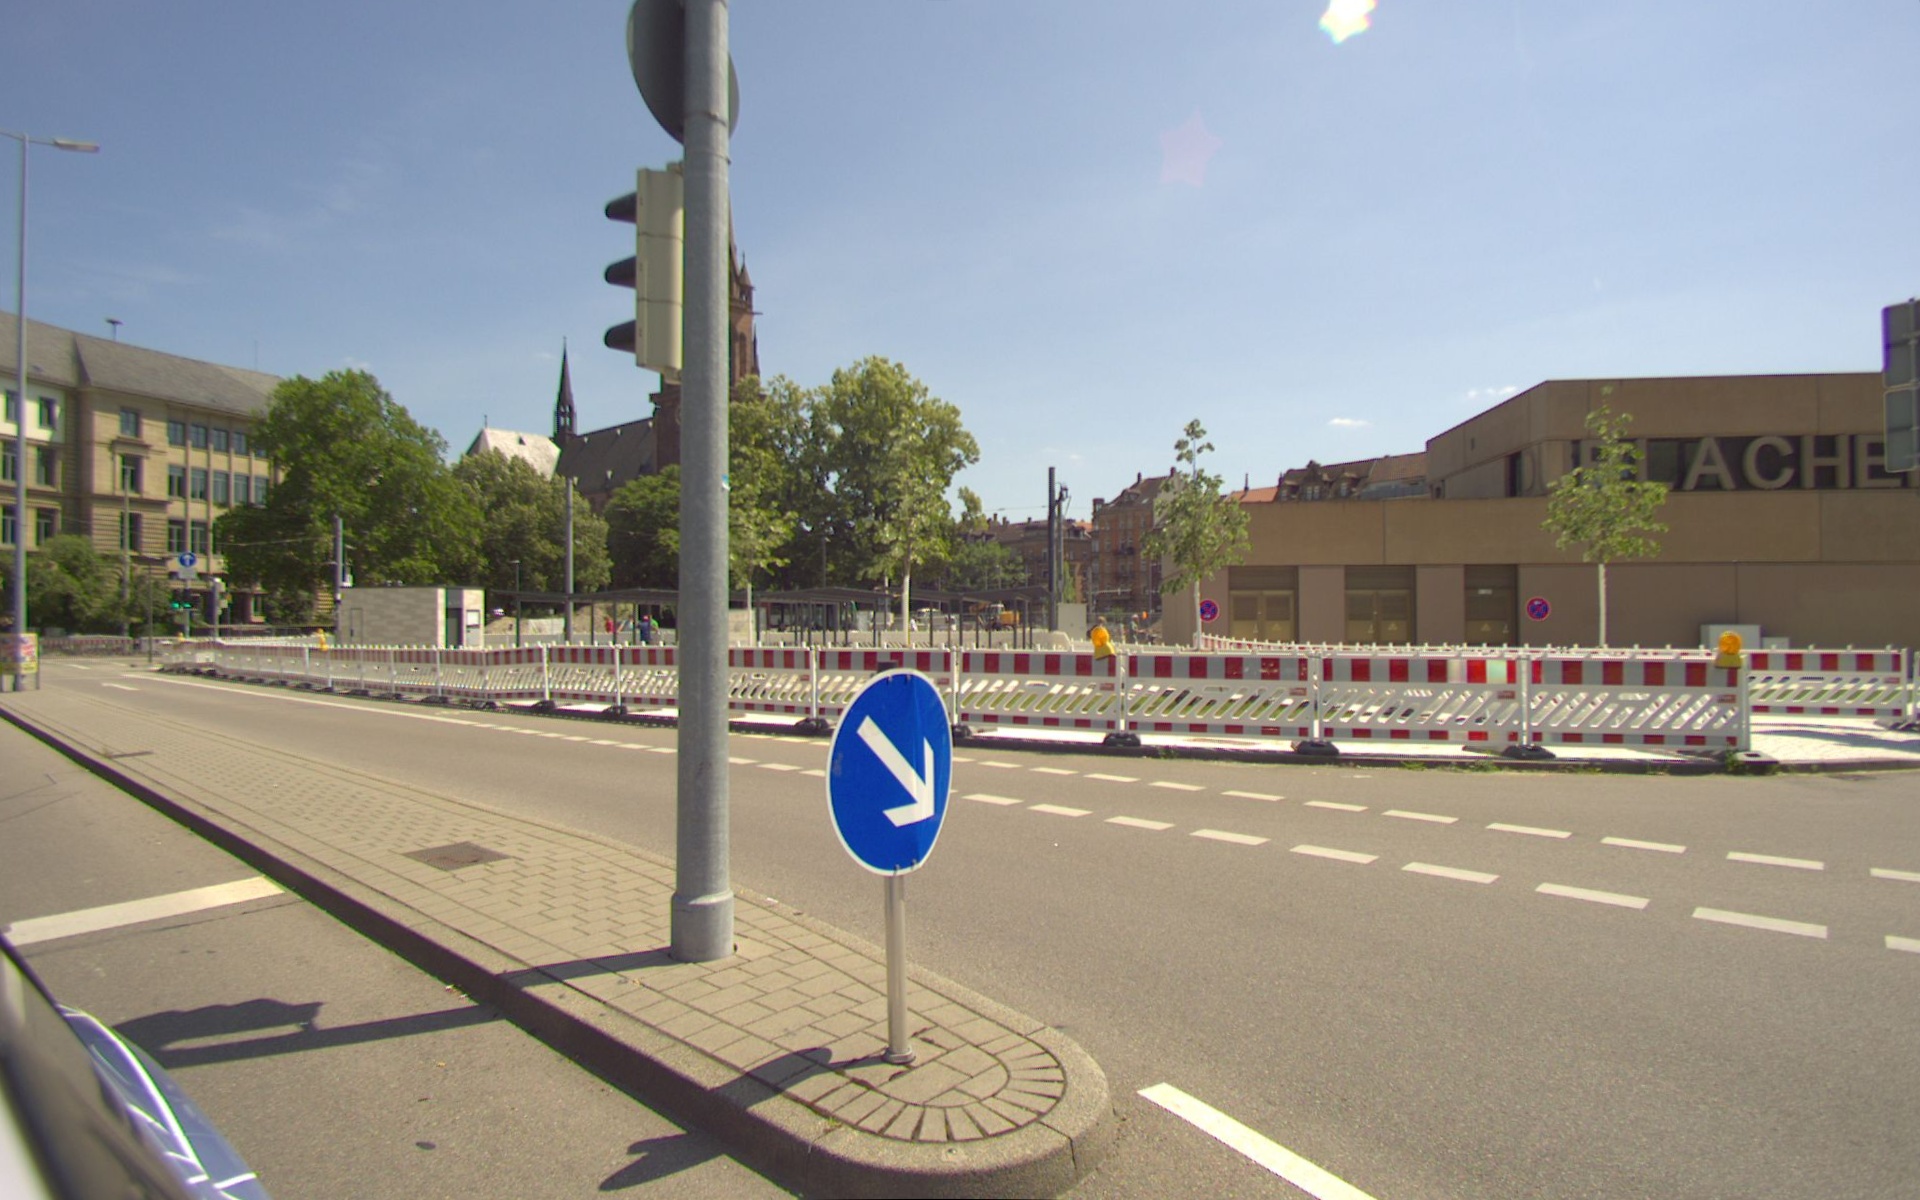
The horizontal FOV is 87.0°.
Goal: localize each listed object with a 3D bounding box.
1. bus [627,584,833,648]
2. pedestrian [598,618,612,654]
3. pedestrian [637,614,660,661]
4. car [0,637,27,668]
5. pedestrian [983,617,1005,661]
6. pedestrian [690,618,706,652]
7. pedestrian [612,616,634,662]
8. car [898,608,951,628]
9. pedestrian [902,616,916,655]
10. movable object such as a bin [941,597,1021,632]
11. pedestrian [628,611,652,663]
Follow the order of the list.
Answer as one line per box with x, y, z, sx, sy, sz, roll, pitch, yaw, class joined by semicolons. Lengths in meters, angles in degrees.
-12.355;0.863;54.564;10.481;3.076;2.848;-2;0;9;bus
-17.369;1.738;49.534;0.556;1.714;0.582;-2;0;-12;pedestrian
-12.231;1.472;39.770;0.630;1.802;0.644;-2;0;6;pedestrian
-45.538;2.480;47.905;4.013;1.388;1.670;-1;-3;43;car
1.606;1.852;48.044;0.869;2.029;0.694;-2;0;11;pedestrian
-13.064;1.727;50.431;0.539;1.667;0.626;-2;0;3;pedestrian
-13.226;1.510;39.706;0.650;1.769;0.541;-2;0;-3;pedestrian
-3.056;1.559;86.416;4.225;1.614;1.766;-2;0;28;car
-2.485;1.730;49.518;0.598;1.871;0.698;-2;0;3;pedestrian
2.231;1.551;106.656;7.933;3.414;2.883;-2;0;26;movable object such as a bin
-12.191;1.404;38.563;0.570;1.920;0.692;-2;0;6;pedestrian
